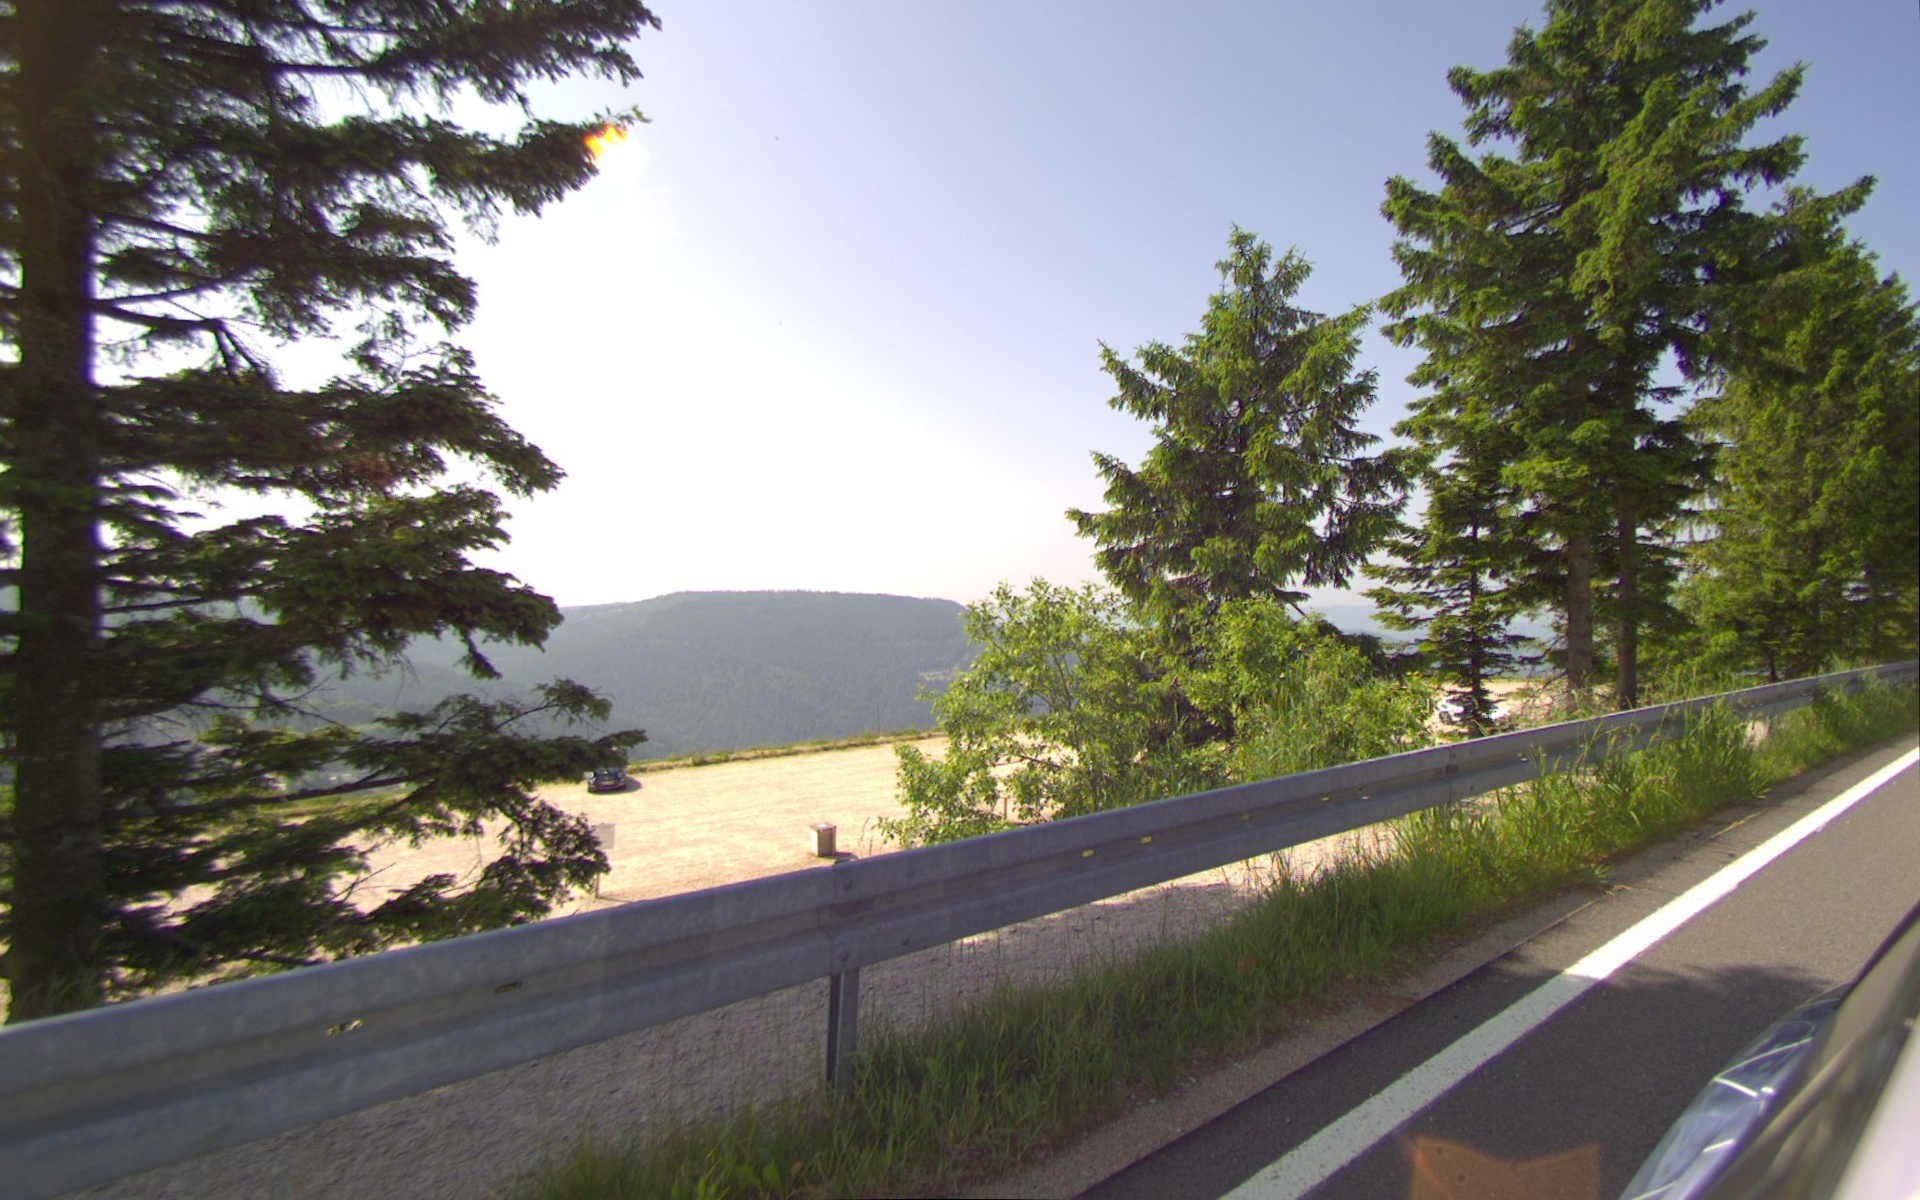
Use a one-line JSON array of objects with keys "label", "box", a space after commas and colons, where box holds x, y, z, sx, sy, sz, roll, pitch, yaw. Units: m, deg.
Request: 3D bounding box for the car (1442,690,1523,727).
[{"label": "car", "box": [29.995, 6.220, 58.208, 1.805, 1.616, 3.784, -2, 1, -25]}]

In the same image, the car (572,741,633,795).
[{"label": "car", "box": [-15.643, 7.273, 44.186, 1.767, 1.687, 3.525, 1, 0, -33]}]
